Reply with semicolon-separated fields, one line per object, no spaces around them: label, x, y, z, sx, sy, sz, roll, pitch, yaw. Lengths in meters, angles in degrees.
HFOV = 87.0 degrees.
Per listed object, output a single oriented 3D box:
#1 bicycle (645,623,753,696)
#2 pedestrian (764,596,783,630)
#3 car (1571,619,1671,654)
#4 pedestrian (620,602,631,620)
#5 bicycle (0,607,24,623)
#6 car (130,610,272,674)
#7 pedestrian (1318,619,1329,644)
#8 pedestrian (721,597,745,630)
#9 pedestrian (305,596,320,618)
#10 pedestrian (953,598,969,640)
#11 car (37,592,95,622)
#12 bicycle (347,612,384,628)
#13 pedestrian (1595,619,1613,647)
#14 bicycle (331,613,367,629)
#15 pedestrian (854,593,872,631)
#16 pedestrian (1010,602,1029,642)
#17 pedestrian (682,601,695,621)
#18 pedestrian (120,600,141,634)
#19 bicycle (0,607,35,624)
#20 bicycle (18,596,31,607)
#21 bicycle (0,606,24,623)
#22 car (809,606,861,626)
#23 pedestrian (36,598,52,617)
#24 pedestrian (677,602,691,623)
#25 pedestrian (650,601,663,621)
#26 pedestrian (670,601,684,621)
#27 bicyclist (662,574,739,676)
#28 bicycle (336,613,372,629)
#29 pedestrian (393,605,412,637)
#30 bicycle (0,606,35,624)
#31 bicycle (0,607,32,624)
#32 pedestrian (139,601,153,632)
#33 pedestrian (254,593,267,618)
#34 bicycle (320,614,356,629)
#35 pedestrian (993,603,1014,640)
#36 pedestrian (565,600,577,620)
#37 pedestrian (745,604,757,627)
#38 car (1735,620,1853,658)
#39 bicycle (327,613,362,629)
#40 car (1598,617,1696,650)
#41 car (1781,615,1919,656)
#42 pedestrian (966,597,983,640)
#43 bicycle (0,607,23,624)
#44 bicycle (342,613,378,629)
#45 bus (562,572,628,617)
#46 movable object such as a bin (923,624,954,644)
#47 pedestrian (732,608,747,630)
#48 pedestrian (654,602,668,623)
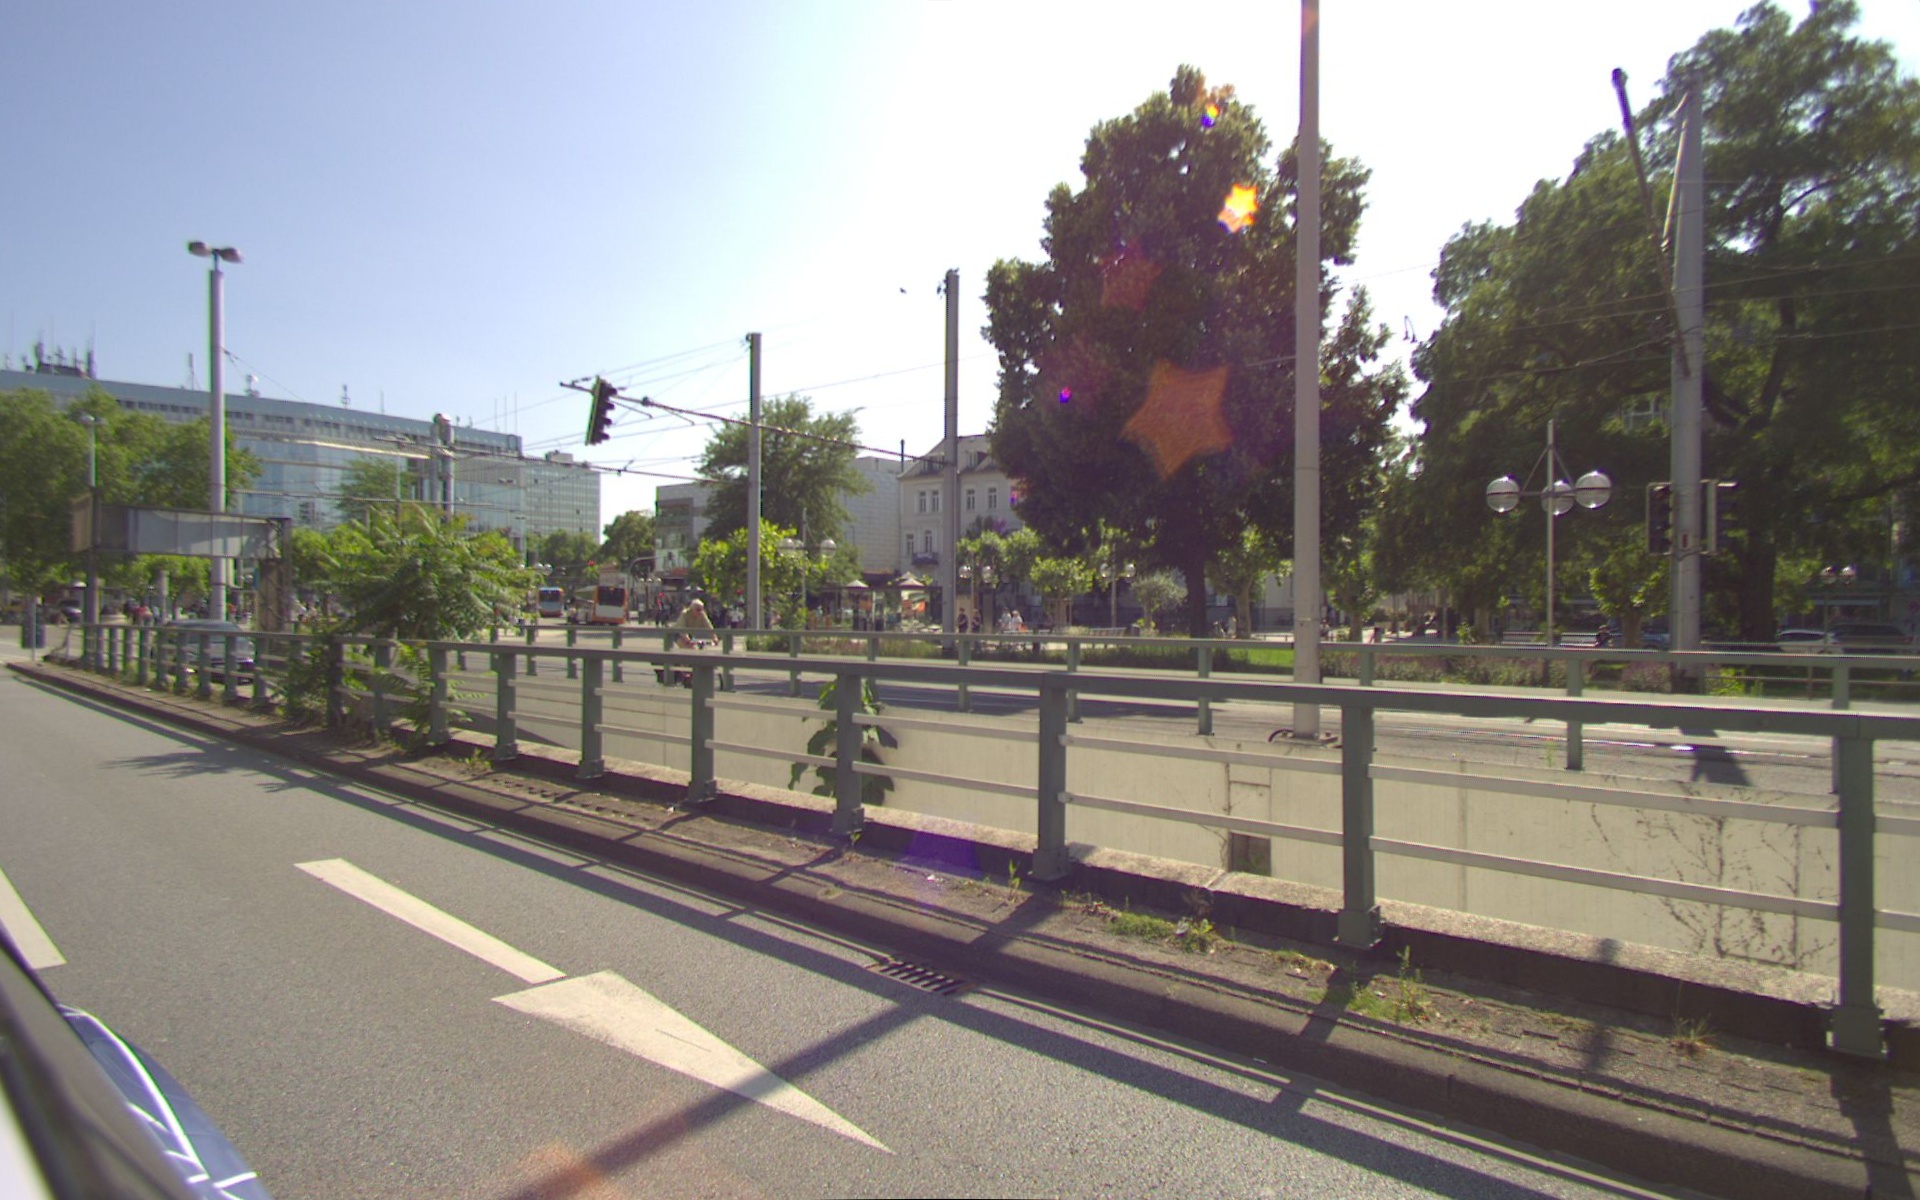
bicycle;-4.376;0.969;16.907;1.873;1.129;0.809;0;-3;42
pedestrian;-9.786;0.691;53.052;0.705;1.719;0.669;-1;-3;40
car;32.218;1.743;49.372;3.992;1.519;1.740;0;2;36
pedestrian;-28.462;0.948;86.125;0.681;1.477;0.616;-1;-4;44
bicycle;-66.901;1.047;71.008;0.482;1.156;1.735;0;0;39
car;-18.560;1.000;24.697;3.994;1.415;1.679;0;-4;38
pedestrian;19.257;1.665;53.590;0.525;1.273;0.574;0;-3;20
pedestrian;-12.929;0.777;57.631;0.953;1.807;1.082;3;-3;-40
pedestrian;-44.721;0.489;69.880;0.549;1.477;0.621;0;-3;19
pedestrian;0.042;0.749;39.727;0.465;1.621;0.447;-1;-3;35
car;-65.540;0.468;74.297;1.965;2.028;5.083;-2;1;-28
bicycle;-35.251;1.180;60.013;0.579;0.876;1.853;0;1;28
pedestrian;29.707;1.534;46.705;0.657;1.273;0.745;0;-3;29
bicycle;-37.567;1.283;62.209;0.544;0.862;1.853;0;1;28
pedestrian;-5.375;0.662;55.826;0.621;2.023;0.736;3;-3;-43
pedestrian;2.486;0.927;42.233;0.619;1.621;0.488;-1;-3;34
pedestrian;-19.660;0.806;73.230;0.679;1.477;0.617;-1;-3;36
pedestrian;-43.825;0.906;53.453;0.581;1.747;0.524;1;-3;11
bicycle;-64.581;1.040;69.269;0.482;1.156;1.842;0;0;39
bicycle;-95.814;0.143;103.661;1.754;1.156;0.586;0;0;34
bicycle;-65.971;1.027;70.035;0.482;1.156;1.735;0;0;39
car;-10.042;1.237;81.044;3.992;1.519;1.740;0;2;36
pedestrian;-71.264;0.601;78.728;0.780;1.418;0.744;0;1;31
pedestrian;-19.743;0.871;72.383;0.616;1.477;0.681;4;-4;-44
pedestrian;-22.455;0.798;74.813;0.679;1.477;0.617;-1;-3;38
pedestrian;-20.567;0.793;73.592;0.679;1.477;0.617;-1;-3;36
bicyclist;-4.344;0.432;16.941;0.902;1.634;0.809;-1;-5;41
bicycle;-37.061;1.279;61.934;0.544;0.862;1.853;0;1;28
pedestrian;-28.935;1.088;52.529;0.597;1.621;0.573;1;-3;13
bicycle;-63.545;1.020;68.187;0.482;1.156;1.735;0;0;39
bicycle;-63.986;1.058;68.471;0.482;1.156;1.735;0;0;39
pedestrian;-43.365;0.901;53.933;0.518;1.621;0.627;3;-3;-39
pedestrian;-52.293;0.414;75.680;0.605;1.830;0.570;-1;-4;41
bicycle;-38.596;1.329;62.844;0.581;0.878;1.853;0;1;28
pedestrian;1.780;0.890;41.259;0.661;1.504;0.519;-1;-3;39
pedestrian;-29.280;0.777;76.211;0.585;1.477;0.522;0;-3;22
pedestrian;-11.517;0.849;55.702;0.479;1.273;0.400;0;-3;23
car;37.460;1.734;45.583;3.992;1.519;1.740;0;2;36
bicycle;-38.033;1.299;62.546;0.544;0.862;1.853;0;1;28
car;34.521;1.664;50.912;3.992;1.519;1.740;0;2;36
car;40.564;1.578;46.075;4.834;1.675;1.740;0;2;36
pedestrian;0.577;0.715;39.215;0.494;1.621;0.409;-1;-3;39
bicycle;-67.362;1.072;71.467;0.482;1.156;1.735;0;0;39
bicycle;-36.521;1.256;61.586;0.579;0.876;1.853;0;1;28
bus;-30.554;-0.525;84.345;3.014;3.445;12.499;-2;1;-30
movable object such as a bin;-0.831;1.338;39.402;0.800;0.760;0.897;-1;-3;41
pedestrian;-12.796;1.089;58.766;0.613;1.273;0.583;3;-3;-40
pedestrian;-21.843;0.925;73.949;0.679;1.477;0.617;-1;-3;36
